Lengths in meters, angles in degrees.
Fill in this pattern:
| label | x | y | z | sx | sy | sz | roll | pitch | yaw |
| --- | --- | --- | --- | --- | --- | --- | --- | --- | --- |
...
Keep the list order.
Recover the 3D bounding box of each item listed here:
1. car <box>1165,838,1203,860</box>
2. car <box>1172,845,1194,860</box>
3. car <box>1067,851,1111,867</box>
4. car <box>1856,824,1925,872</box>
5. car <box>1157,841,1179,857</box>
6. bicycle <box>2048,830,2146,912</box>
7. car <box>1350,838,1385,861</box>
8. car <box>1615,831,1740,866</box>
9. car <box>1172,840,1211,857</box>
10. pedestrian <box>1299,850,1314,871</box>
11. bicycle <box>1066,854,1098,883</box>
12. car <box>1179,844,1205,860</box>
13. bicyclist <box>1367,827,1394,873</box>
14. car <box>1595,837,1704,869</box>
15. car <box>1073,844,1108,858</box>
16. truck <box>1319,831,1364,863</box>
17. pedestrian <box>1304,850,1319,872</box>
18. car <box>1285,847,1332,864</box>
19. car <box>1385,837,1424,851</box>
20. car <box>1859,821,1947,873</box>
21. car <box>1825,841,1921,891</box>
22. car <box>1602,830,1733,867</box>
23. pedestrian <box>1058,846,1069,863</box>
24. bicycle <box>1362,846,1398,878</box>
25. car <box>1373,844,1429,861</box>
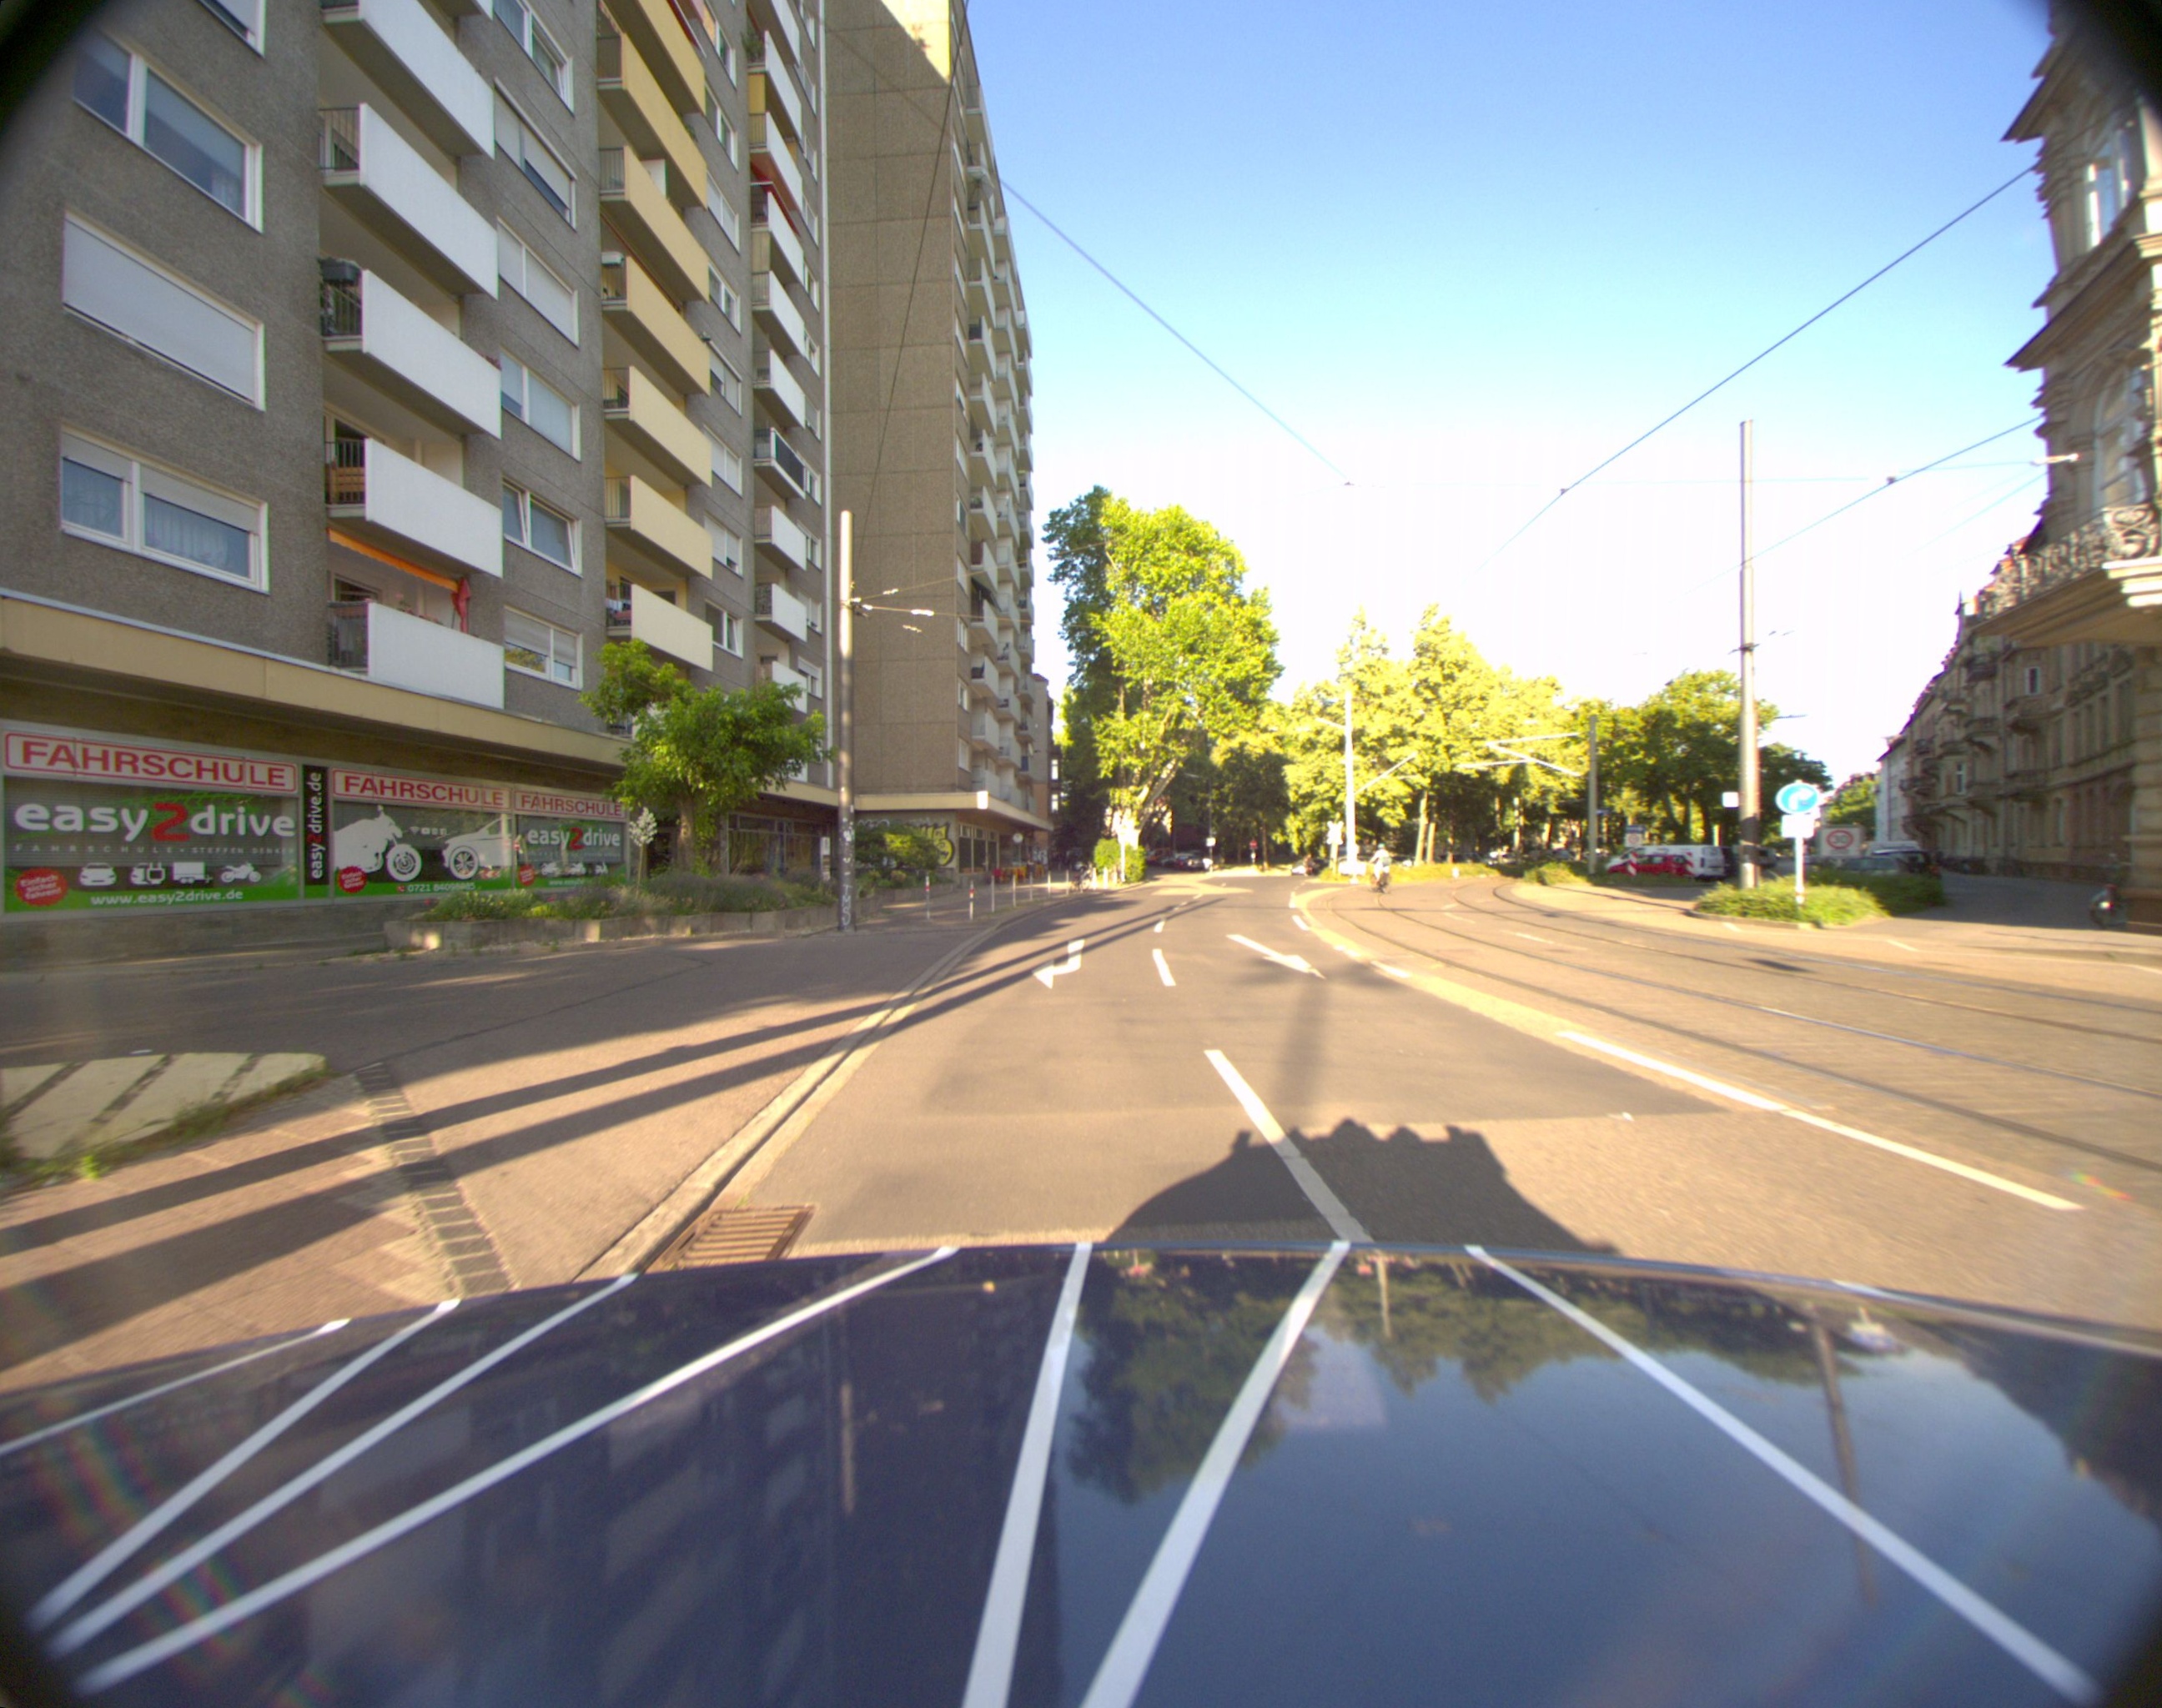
| label | x | y | z | sx | sy | sz | roll | pitch | yaw |
| --- | --- | --- | --- | --- | --- | --- | --- | --- | --- |
| car | 11.444 | -0.556 | 84.797 | 3.926 | 2.392 | 1.534 | -1 | 1 | -6 |
| car | 10.364 | -0.185 | 77.470 | 1.534 | 1.440 | 3.925 | -1 | 0 | -3 |
| car | 0.726 | 0.485 | 72.832 | 3.999 | 1.499 | 1.885 | -1 | 0 | -5 |
| car | 35.906 | -0.263 | 33.728 | 4.645 | 2.002 | 1.994 | -1 | 1 | -43 |
| car | 10.471 | -0.650 | 91.289 | 1.771 | 1.846 | 4.226 | -1 | 0 | -6 |
| bicycle | 16.915 | 0.241 | 12.628 | 2.692 | 1.259 | 0.644 | -1 | 1 | -30 |
| car | 27.502 | -0.435 | 72.950 | 1.785 | 2.067 | 4.008 | 0 | 1 | 42 |
| car | 32.646 | -0.273 | 41.768 | 2.003 | 1.798 | 5.048 | -1 | 0 | -26 |
| car | 11.930 | -0.562 | 82.329 | 3.926 | 1.751 | 1.534 | -1 | 1 | -6 |
| pedestrian | 18.675 | 0.547 | 63.001 | 0.889 | 1.758 | 0.829 | -1 | 1 | -14 |
| bicycle | 0.043 | 0.585 | 30.980 | 0.609 | 1.128 | 2.283 | 0 | 0 | 18 |
| car | 10.525 | -0.184 | 72.034 | 1.740 | 1.440 | 3.630 | -1 | 0 | -3 |
| bicyclist | 11.590 | -0.160 | 29.422 | 0.607 | 1.753 | 1.060 | -1 | 1 | 0 |
| car | 28.459 | -0.045 | 38.188 | 1.871 | 1.499 | 3.991 | -1 | 0 | -26 |
| car | 1.073 | -0.363 | 89.689 | 3.999 | 1.499 | 1.885 | -1 | 0 | -5 |
| truck | 23.832 | -0.629 | 69.398 | 1.994 | 2.767 | 4.894 | 0 | 1 | 43 |
| pedestrian | 18.838 | 0.556 | 62.158 | 0.889 | 1.758 | 0.829 | -1 | 1 | -14 |
| car | 19.710 | 0.149 | 65.721 | 4.008 | 1.390 | 1.945 | -1 | 1 | -40 |
| car | 40.685 | -1.237 | 95.517 | 2.002 | 1.740 | 4.435 | -1 | 0 | -21 |
| car | 28.281 | -0.251 | 26.111 | 4.008 | 1.652 | 1.733 | -1 | 1 | -38 |
| car | 24.352 | 0.330 | 23.345 | 3.440 | 1.406 | 1.733 | -1 | 1 | -38 |
| car | 30.406 | -0.290 | 39.583 | 2.003 | 1.777 | 5.048 | -1 | 0 | -26 |
| pedestrian | -2.109 | 0.020 | 89.036 | 1.213 | 2.002 | 1.206 | -1 | 1 | -4 |
| bicycle | 11.601 | 0.300 | 29.520 | 0.610 | 1.168 | 1.952 | -1 | 0 | 0 |
| car | 25.019 | -0.115 | 59.511 | 1.744 | 1.346 | 3.679 | -1 | 0 | -31 |
